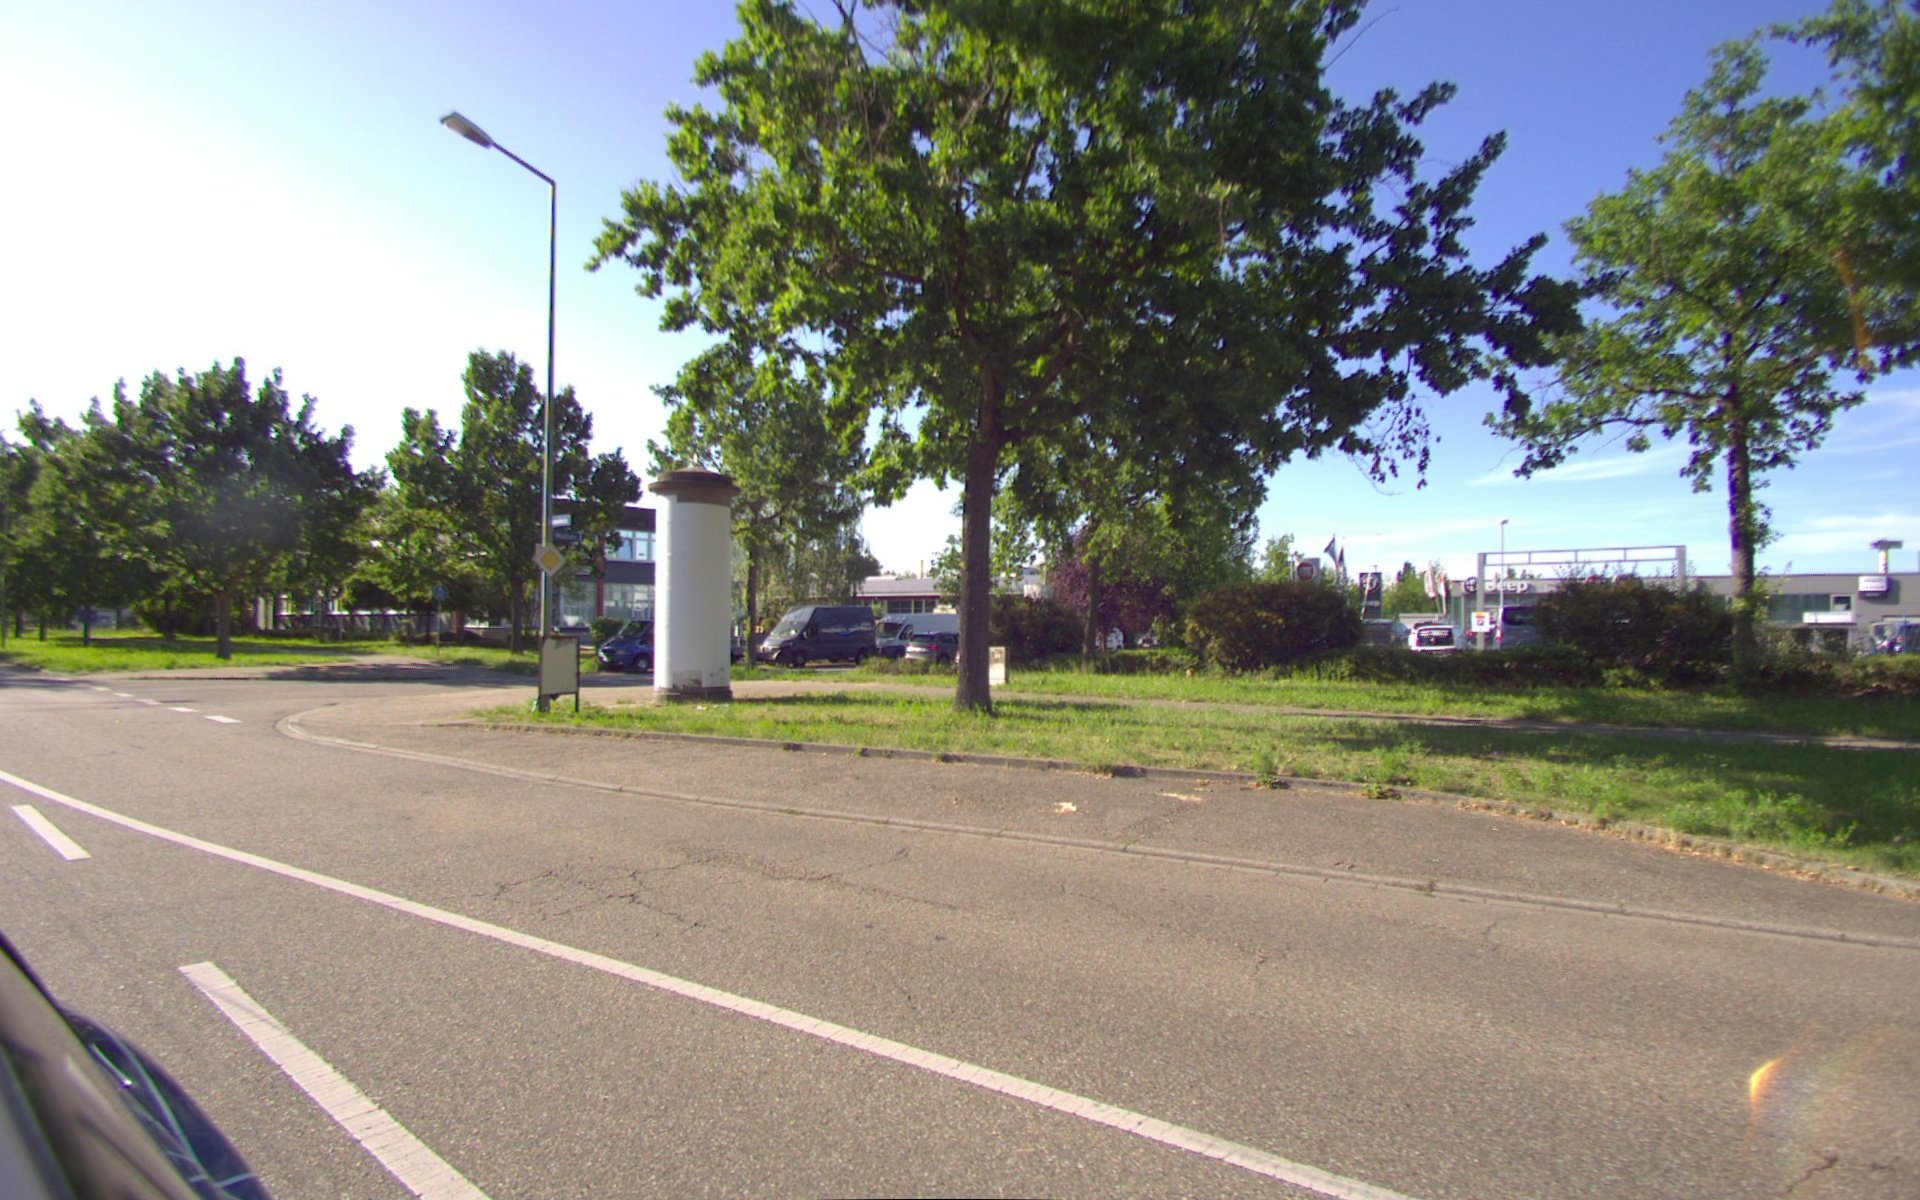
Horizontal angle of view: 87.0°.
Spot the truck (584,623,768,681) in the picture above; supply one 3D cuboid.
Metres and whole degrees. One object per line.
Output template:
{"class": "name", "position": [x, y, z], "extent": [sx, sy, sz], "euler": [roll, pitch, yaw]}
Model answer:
{"class": "truck", "position": [-11.000, 2.029, 39.884], "extent": [2.138, 2.065, 7.042], "euler": [0, -2, 38]}

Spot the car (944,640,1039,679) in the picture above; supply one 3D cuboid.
{"class": "car", "position": [1.330, 2.389, 40.999], "extent": [1.821, 1.493, 4.153], "euler": [-3, -4, 36]}

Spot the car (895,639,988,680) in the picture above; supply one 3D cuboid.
{"class": "car", "position": [-0.759, 2.555, 43.997], "extent": [1.757, 1.607, 4.245], "euler": [1, -2, 37]}

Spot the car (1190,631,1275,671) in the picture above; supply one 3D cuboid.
{"class": "car", "position": [11.374, 2.064, 42.036], "extent": [1.882, 1.563, 4.604], "euler": [-1, -2, 36]}

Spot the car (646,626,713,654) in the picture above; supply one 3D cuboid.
{"class": "car", "position": [-17.762, 2.512, 63.995], "extent": [4.294, 1.505, 1.974], "euler": [2, 1, 39]}

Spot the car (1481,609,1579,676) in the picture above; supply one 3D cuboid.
{"class": "car", "position": [19.425, 1.408, 34.358], "extent": [2.296, 2.085, 5.360], "euler": [-1, -2, 36]}

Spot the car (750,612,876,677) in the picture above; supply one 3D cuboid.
{"class": "car", "position": [-6.578, 1.919, 45.884], "extent": [2.296, 2.723, 5.809], "euler": [0, 0, 36]}

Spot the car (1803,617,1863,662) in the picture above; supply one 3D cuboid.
{"class": "car", "position": [41.381, 1.841, 48.040], "extent": [1.882, 2.029, 3.949], "euler": [-1, -2, 38]}

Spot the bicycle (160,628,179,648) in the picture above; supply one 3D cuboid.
{"class": "bicycle", "position": [-49.880, 2.390, 63.832], "extent": [2.334, 1.170, 0.545], "euler": [0, -1, 42]}

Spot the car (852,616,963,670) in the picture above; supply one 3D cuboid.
{"class": "car", "position": [-2.601, 2.110, 51.860], "extent": [2.296, 2.535, 6.282], "euler": [0, 0, 36]}

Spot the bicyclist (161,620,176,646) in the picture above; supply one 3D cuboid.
{"class": "bicyclist", "position": [-49.882, 2.074, 63.773], "extent": [0.659, 1.641, 0.657], "euler": [-1, -1, 42]}

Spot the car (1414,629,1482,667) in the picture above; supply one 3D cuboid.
{"class": "car", "position": [17.637, 1.693, 36.525], "extent": [1.572, 1.312, 3.490], "euler": [-1, -2, 37]}
